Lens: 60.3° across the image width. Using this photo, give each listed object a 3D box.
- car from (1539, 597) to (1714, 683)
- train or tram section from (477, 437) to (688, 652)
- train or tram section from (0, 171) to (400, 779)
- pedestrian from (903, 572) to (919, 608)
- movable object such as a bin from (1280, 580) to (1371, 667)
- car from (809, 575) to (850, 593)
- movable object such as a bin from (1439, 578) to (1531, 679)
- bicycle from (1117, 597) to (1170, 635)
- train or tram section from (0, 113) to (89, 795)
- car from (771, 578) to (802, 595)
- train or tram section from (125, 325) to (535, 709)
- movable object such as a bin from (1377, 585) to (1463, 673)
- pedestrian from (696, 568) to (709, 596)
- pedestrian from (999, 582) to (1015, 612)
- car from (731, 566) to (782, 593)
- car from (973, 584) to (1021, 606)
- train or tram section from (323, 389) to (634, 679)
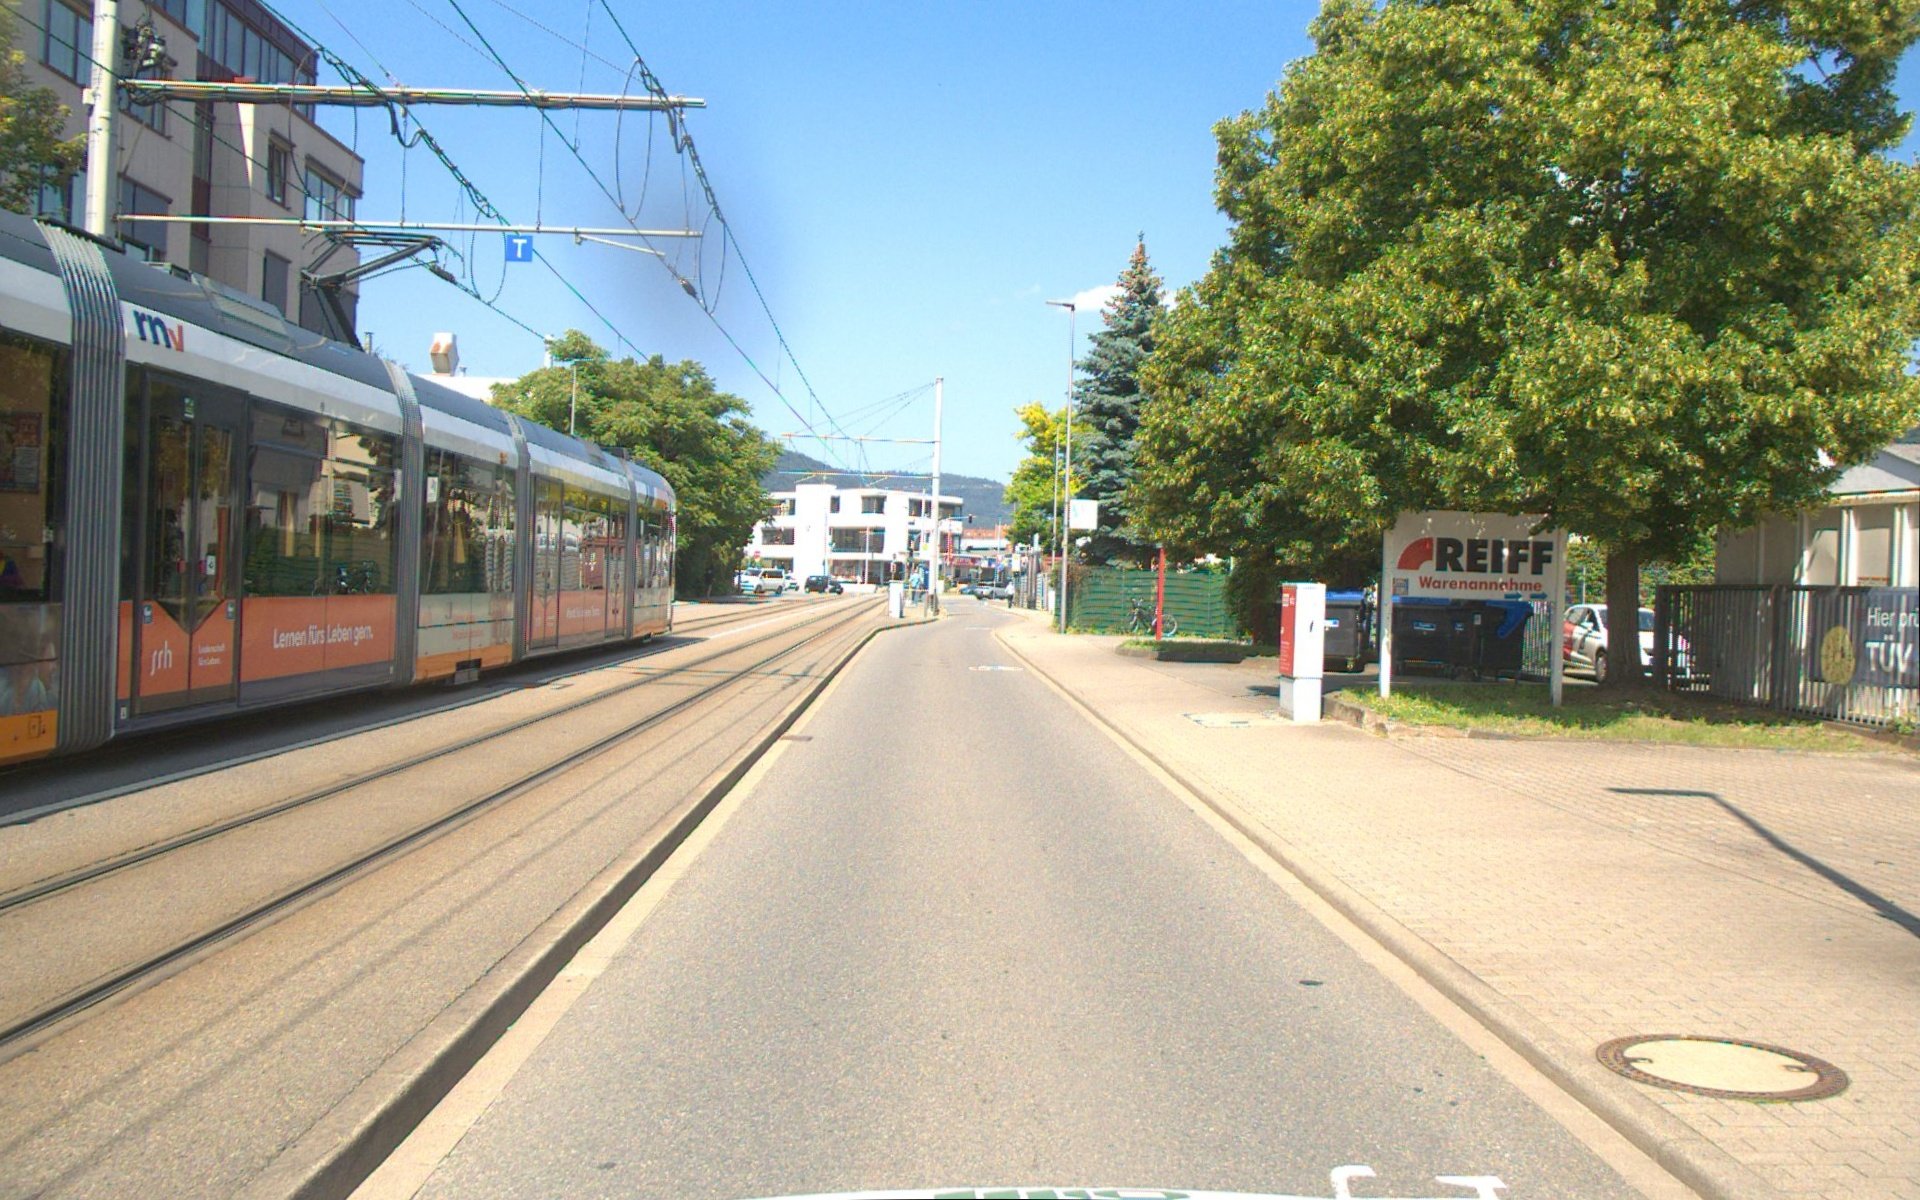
[{"bbox_3d":[12.891,0.731,32.254,1.708,1.485,4.000,2,0,-1],"label":"car"},{"bbox_3d":[-6.832,-0.952,30.825,2.528,3.507,6.361,2,0,-2],"label":"train or tram section"},{"bbox_3d":[-6.474,-0.780,12.469,2.558,3.507,5.841,2,0,-2],"label":"train or tram section"},{"bbox_3d":[-2.428,-0.479,82.297,0.728,1.771,0.727,1,0,-2],"label":"pedestrian"},{"bbox_3d":[6.482,0.426,29.313,1.356,1.455,0.990,2,-2,24],"label":"movable object such as a bin"},{"bbox_3d":[-11.566,-1.454,146.620,3.475,1.356,1.669,5,2,41],"label":"car"},{"bbox_3d":[8.602,0.473,27.152,0.959,1.574,1.319,3,-2,-5],"label":"movable object such as a bin"},{"bbox_3d":[5.222,0.453,46.980,1.441,1.008,0.388,2,-3,-2],"label":"bicycle"},{"bbox_3d":[-6.297,-0.775,6.666,2.558,3.594,5.741,2,0,-2],"label":"train or tram section"},{"bbox_3d":[-18.160,-1.413,173.225,1.741,1.676,3.717,1,1,-34],"label":"car"},{"bbox_3d":[-6.527,-0.789,17.968,2.558,3.507,5.009,2,0,-2],"label":"train or tram section"},{"bbox_3d":[8.034,0.506,28.879,1.290,1.455,0.884,2,-2,24],"label":"movable object such as a bin"},{"bbox_3d":[-14.648,-1.008,94.085,0.572,1.564,0.657,1,0,-2],"label":"pedestrian"},{"bbox_3d":[3.002,-0.194,105.446,0.921,1.818,0.953,3,1,-2],"label":"pedestrian"},{"bbox_3d":[-16.120,-1.598,131.114,1.826,1.970,3.991,4,2,31],"label":"car"},{"bbox_3d":[3.301,-0.488,146.847,3.923,1.780,1.768,2,0,-17],"label":"car"},{"bbox_3d":[-6.663,-0.841,24.057,2.528,3.507,7.134,2,0,-2],"label":"train or tram section"}]
